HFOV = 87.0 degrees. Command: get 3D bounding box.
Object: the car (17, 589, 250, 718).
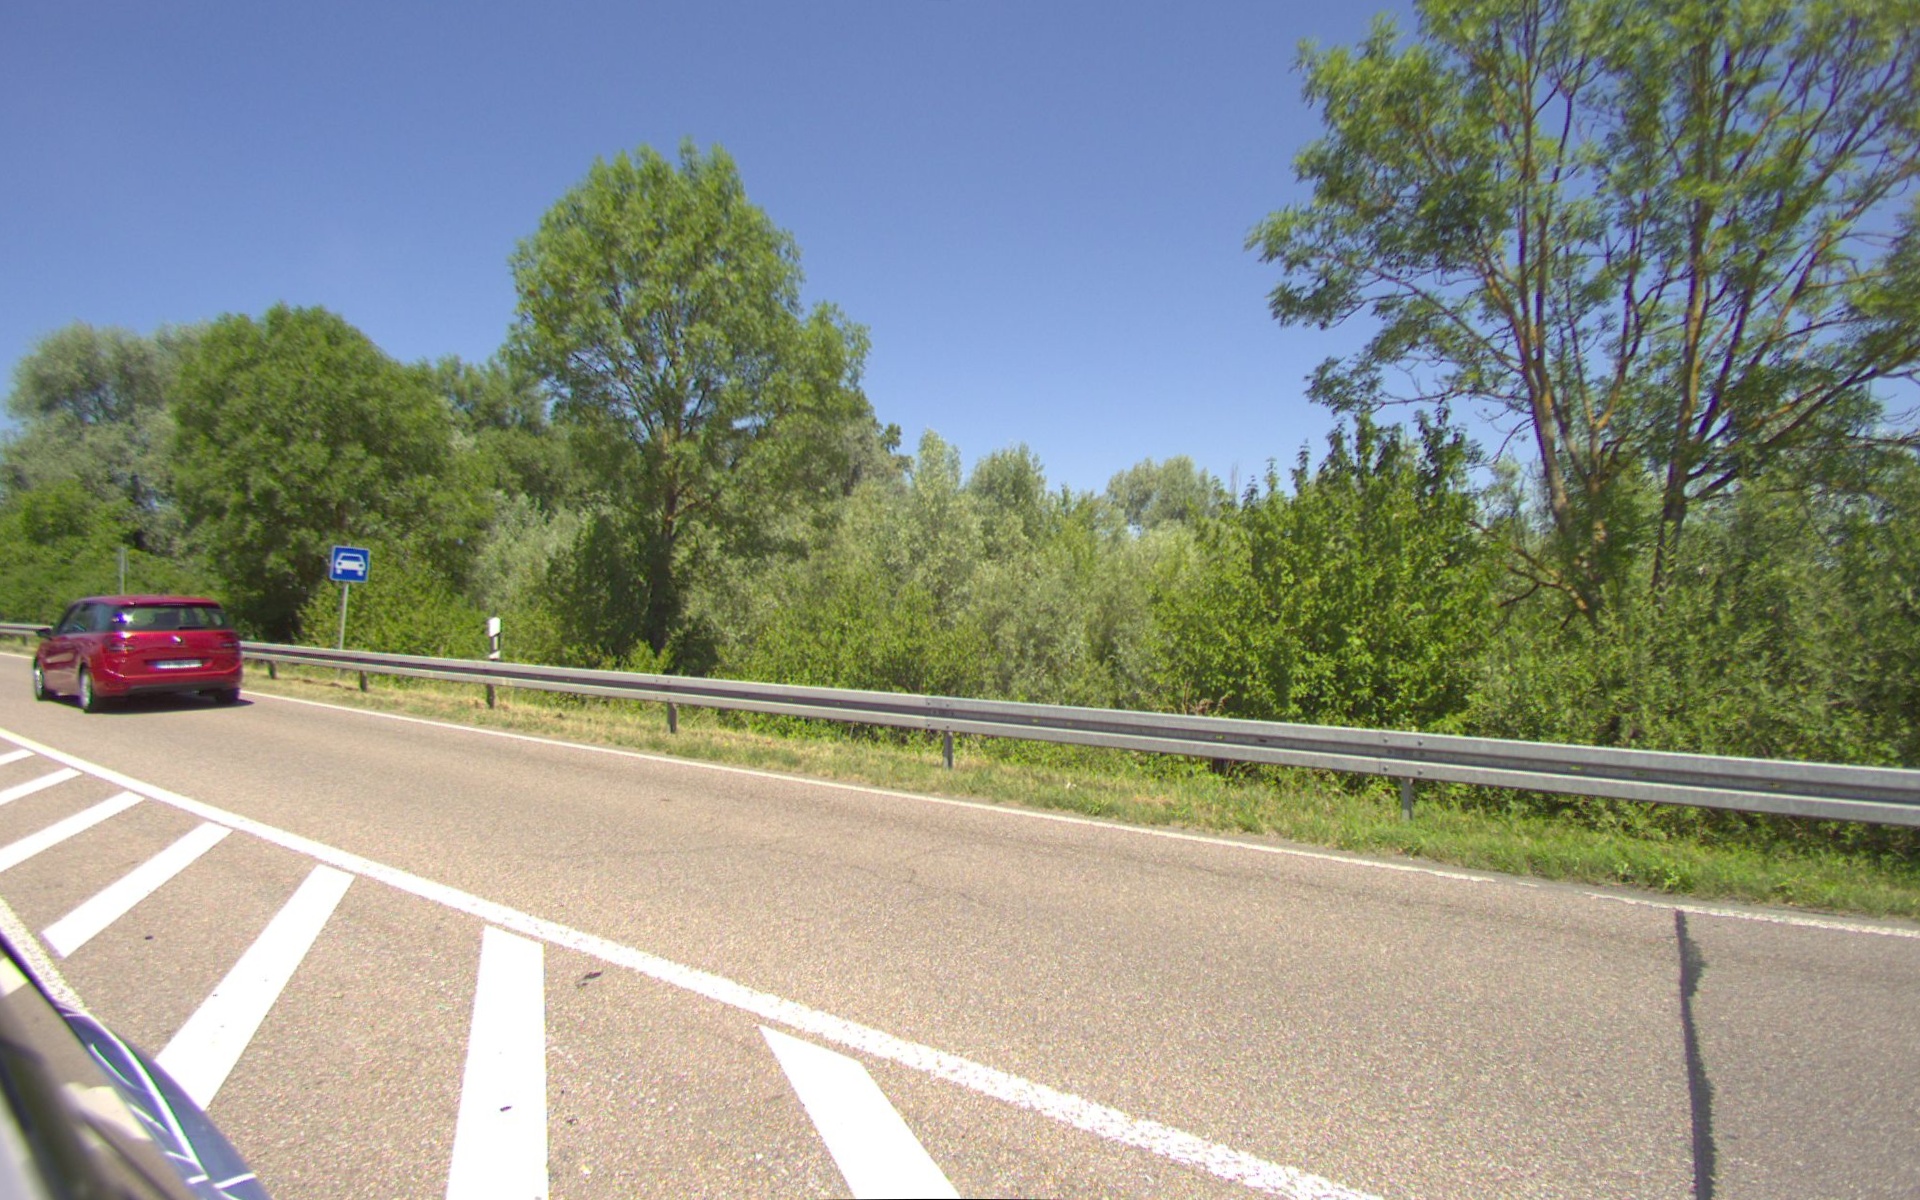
[{"bbox_3d":[-12.536,0.748,15.277,4.201,1.698,1.720,0,-2,37],"label":"car"}]
